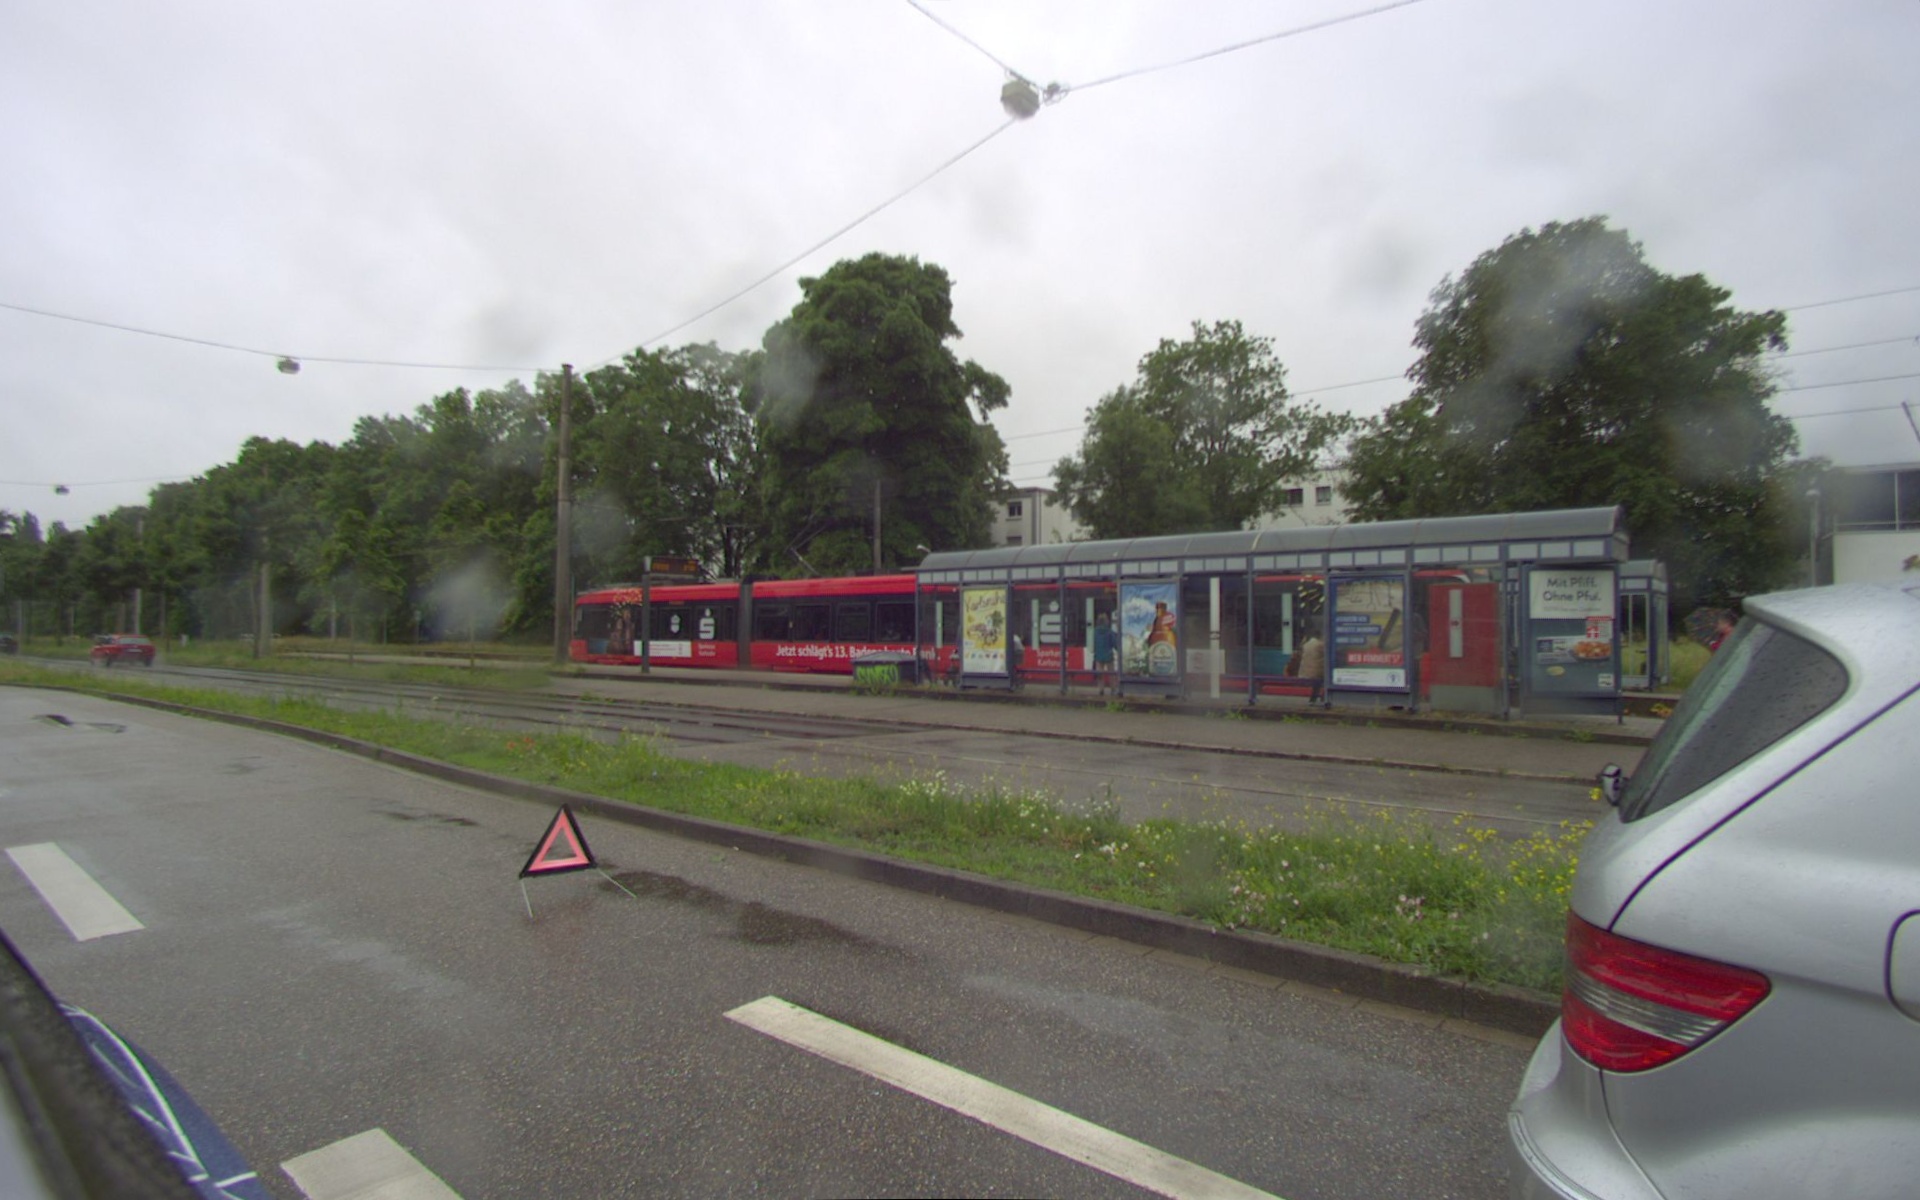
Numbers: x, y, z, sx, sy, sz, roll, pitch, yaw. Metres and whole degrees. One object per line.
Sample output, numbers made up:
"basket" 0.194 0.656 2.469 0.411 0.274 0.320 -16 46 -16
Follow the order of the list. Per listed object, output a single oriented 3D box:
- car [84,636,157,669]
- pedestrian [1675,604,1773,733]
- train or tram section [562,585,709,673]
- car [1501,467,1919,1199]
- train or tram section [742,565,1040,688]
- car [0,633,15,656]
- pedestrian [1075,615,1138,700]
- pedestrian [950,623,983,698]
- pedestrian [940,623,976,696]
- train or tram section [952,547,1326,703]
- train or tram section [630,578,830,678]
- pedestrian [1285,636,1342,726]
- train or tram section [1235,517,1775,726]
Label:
"car" -37.606 2.328 45.300 4.247 1.371 1.663 -2 -5 39
"pedestrian" 10.490 0.902 13.898 0.996 1.688 0.914 -1 0 41
"train or tram section" -13.800 1.234 42.894 5.767 3.444 3.495 -2 -3 42
"car" 2.828 0.617 0.741 4.011 1.556 1.718 -2 -3 41
"train or tram section" -2.549 0.897 32.837 10.257 3.427 3.495 -2 -3 42
"car" -64.680 2.966 67.777 3.819 1.448 1.718 -1 -1 42
"pedestrian" 2.854 1.100 19.724 0.929 1.609 0.795 -2 -3 44
"pedestrian" 0.133 1.298 21.876 0.437 1.574 0.603 -1 0 -35
"pedestrian" -0.048 1.310 22.523 0.514 1.574 0.603 -1 0 -35
"train or tram section" 4.387 0.692 26.649 9.274 3.416 3.495 -2 -3 42
"train or tram section" -8.897 1.091 38.537 7.899 3.438 3.495 -2 -3 42
"pedestrian" 5.906 1.328 16.906 0.699 1.464 0.618 -2 -3 43
"train or tram section" 10.785 0.499 20.935 9.274 3.416 3.495 -2 -3 42
